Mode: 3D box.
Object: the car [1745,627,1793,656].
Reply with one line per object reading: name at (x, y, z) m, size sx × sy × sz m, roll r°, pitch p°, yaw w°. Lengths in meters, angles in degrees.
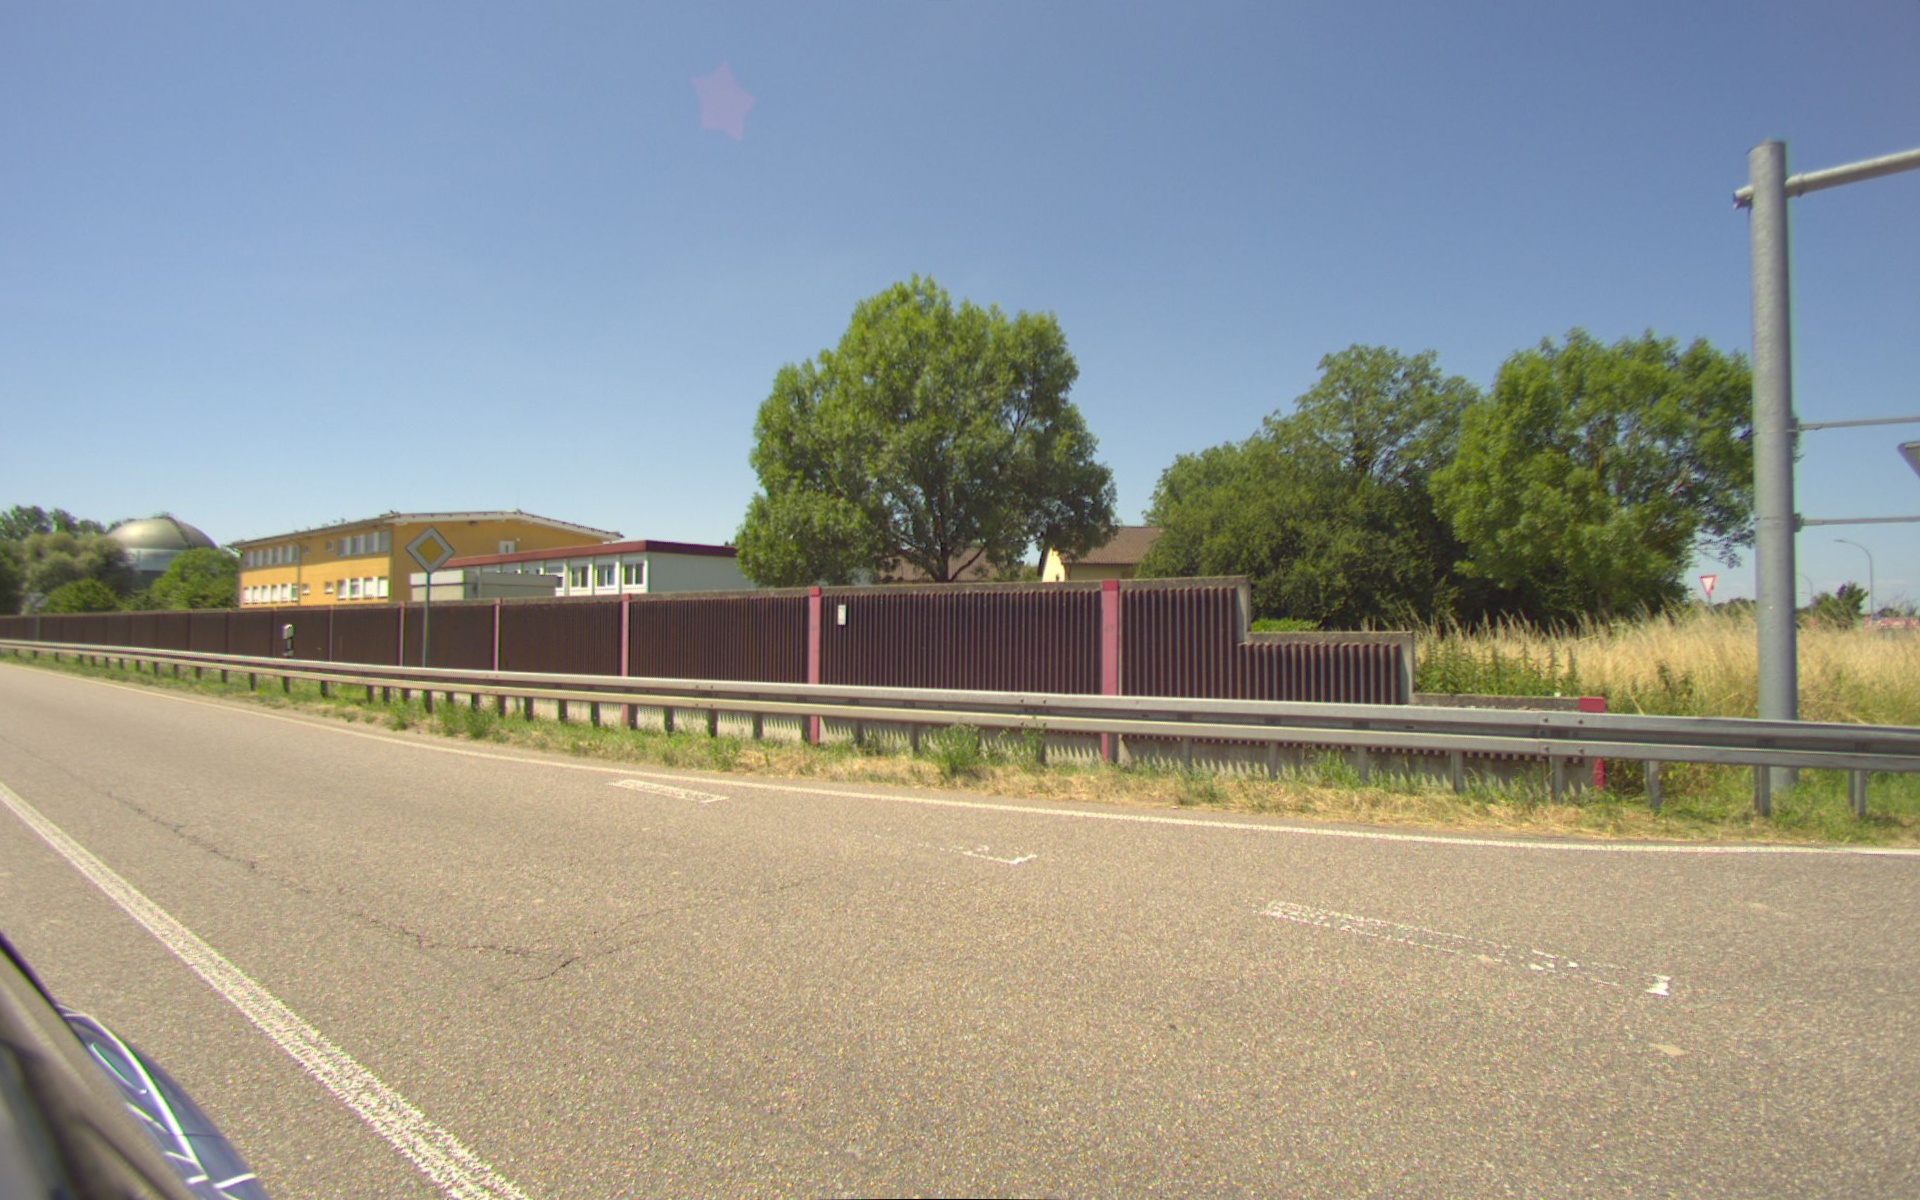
car at (49.103, 2.501, 61.489) m, size 1.765 × 1.637 × 4.187 m, roll -2°, pitch -2°, yaw 33°
